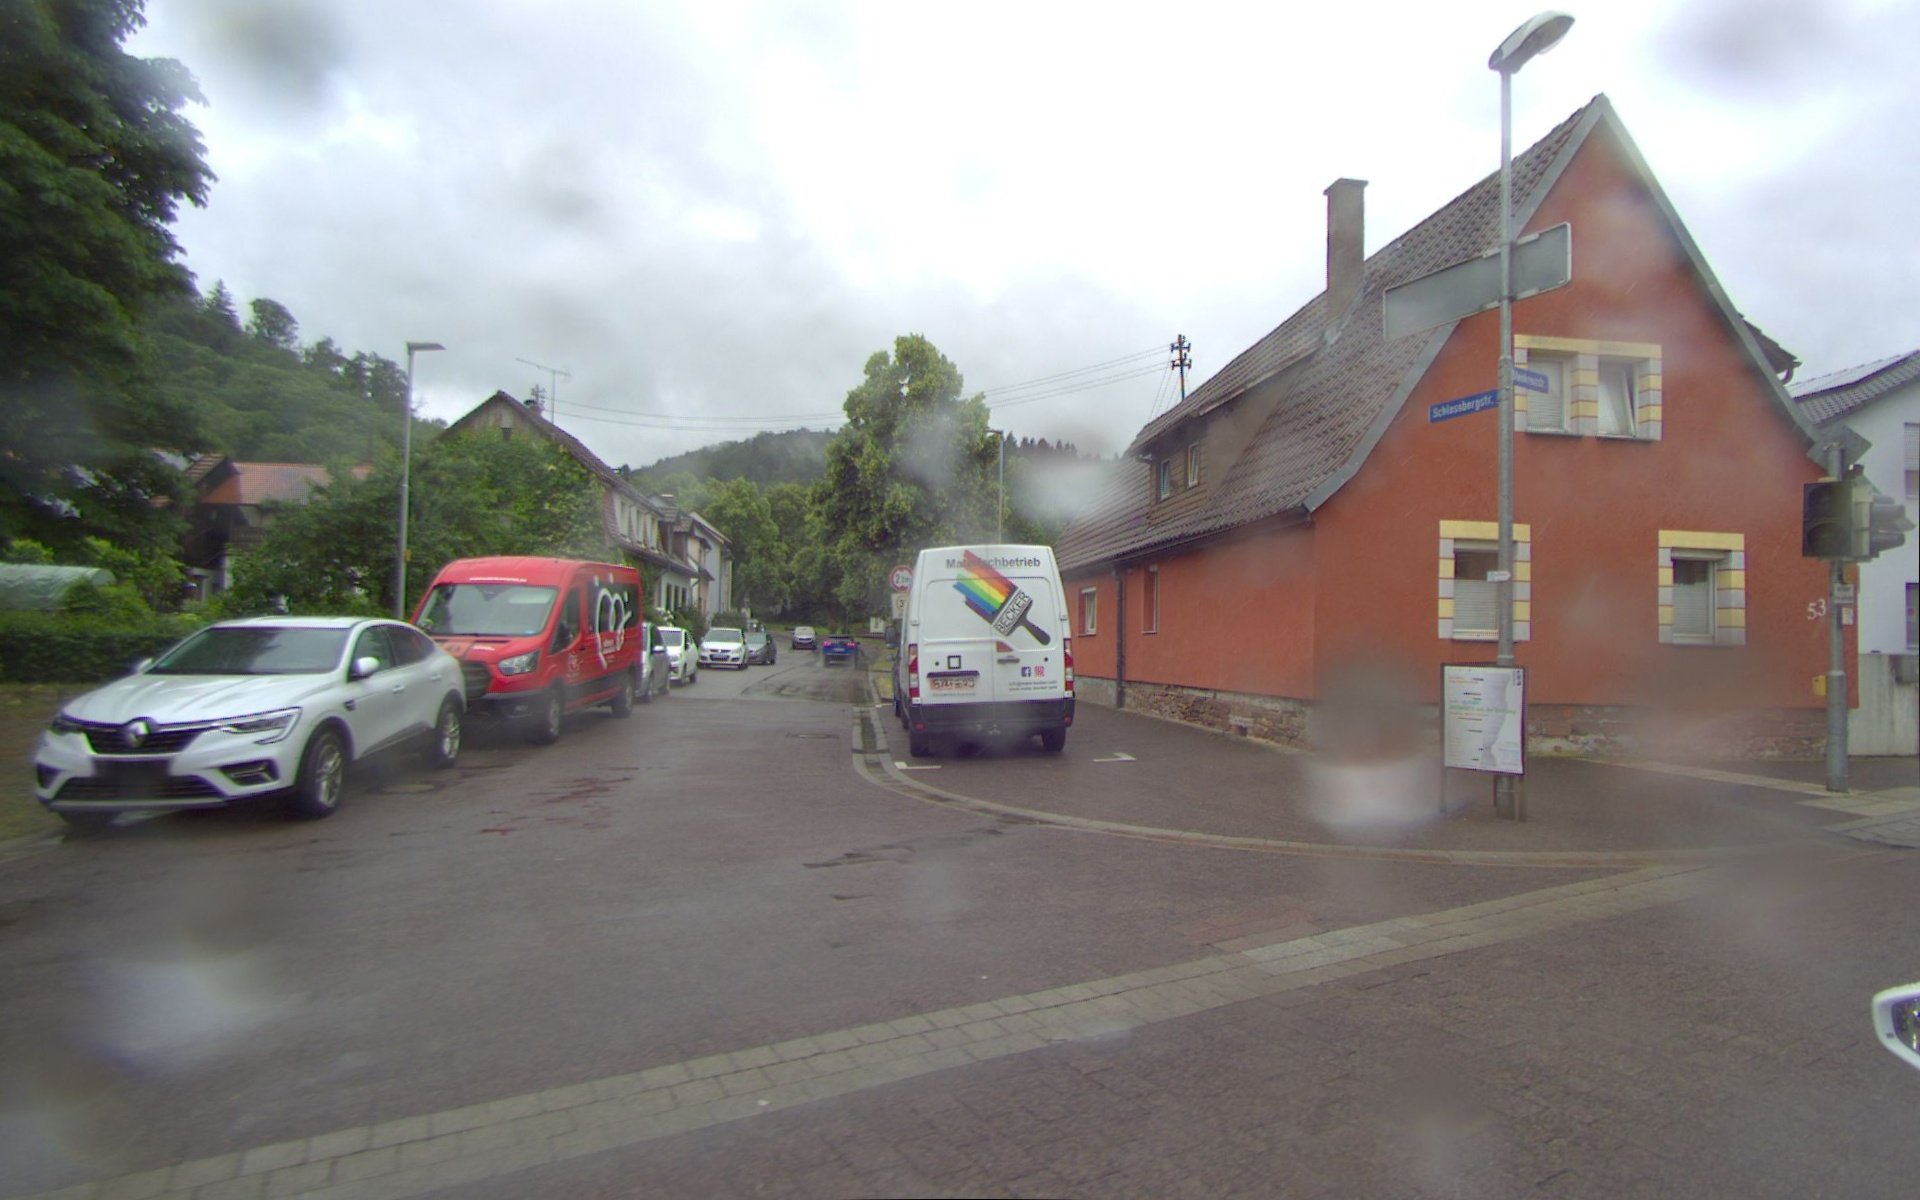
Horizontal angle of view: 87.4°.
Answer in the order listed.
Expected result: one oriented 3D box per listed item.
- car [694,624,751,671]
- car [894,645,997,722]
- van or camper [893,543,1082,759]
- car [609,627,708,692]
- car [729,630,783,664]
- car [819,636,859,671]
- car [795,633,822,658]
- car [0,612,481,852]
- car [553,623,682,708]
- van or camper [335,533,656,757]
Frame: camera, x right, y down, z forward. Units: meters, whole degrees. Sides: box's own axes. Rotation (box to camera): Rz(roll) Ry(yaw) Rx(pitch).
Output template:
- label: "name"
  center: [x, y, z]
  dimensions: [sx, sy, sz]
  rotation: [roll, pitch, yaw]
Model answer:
- label: "car"
  center: [-9.061, 1.782, 38.580]
  dimensions: [1.780, 1.623, 3.756]
  rotation: [3, -2, -9]
- label: "car"
  center: [-0.354, 1.552, 19.625]
  dimensions: [1.802, 1.297, 4.003]
  rotation: [0, -2, -3]
- label: "van or camper"
  center: [0.183, 0.674, 14.152]
  dimensions: [2.168, 2.467, 5.158]
  rotation: [0, -2, -3]
- label: "car"
  center: [-7.920, 1.544, 26.731]
  dimensions: [1.767, 1.570, 3.809]
  rotation: [2, -2, -5]
- label: "car"
  center: [-9.479, 2.185, 46.925]
  dimensions: [1.650, 1.449, 3.665]
  rotation: [2, -2, 1]
- label: "car"
  center: [-6.120, 2.664, 50.980]
  dimensions: [1.829, 1.571, 3.997]
  rotation: [1, 0, -5]
- label: "car"
  center: [-11.382, 3.423, 75.740]
  dimensions: [1.943, 1.638, 4.437]
  rotation: [1, 0, -7]
- label: "car"
  center: [-5.975, 0.928, 8.893]
  dimensions: [1.848, 1.570, 4.455]
  rotation: [1, -1, -8]
- label: "car"
  center: [-6.996, 1.313, 20.925]
  dimensions: [1.768, 1.570, 3.808]
  rotation: [2, -2, -8]
- label: "van or camper"
  center: [-6.217, 0.607, 14.483]
  dimensions: [2.114, 2.506, 5.876]
  rotation: [2, -2, -4]
